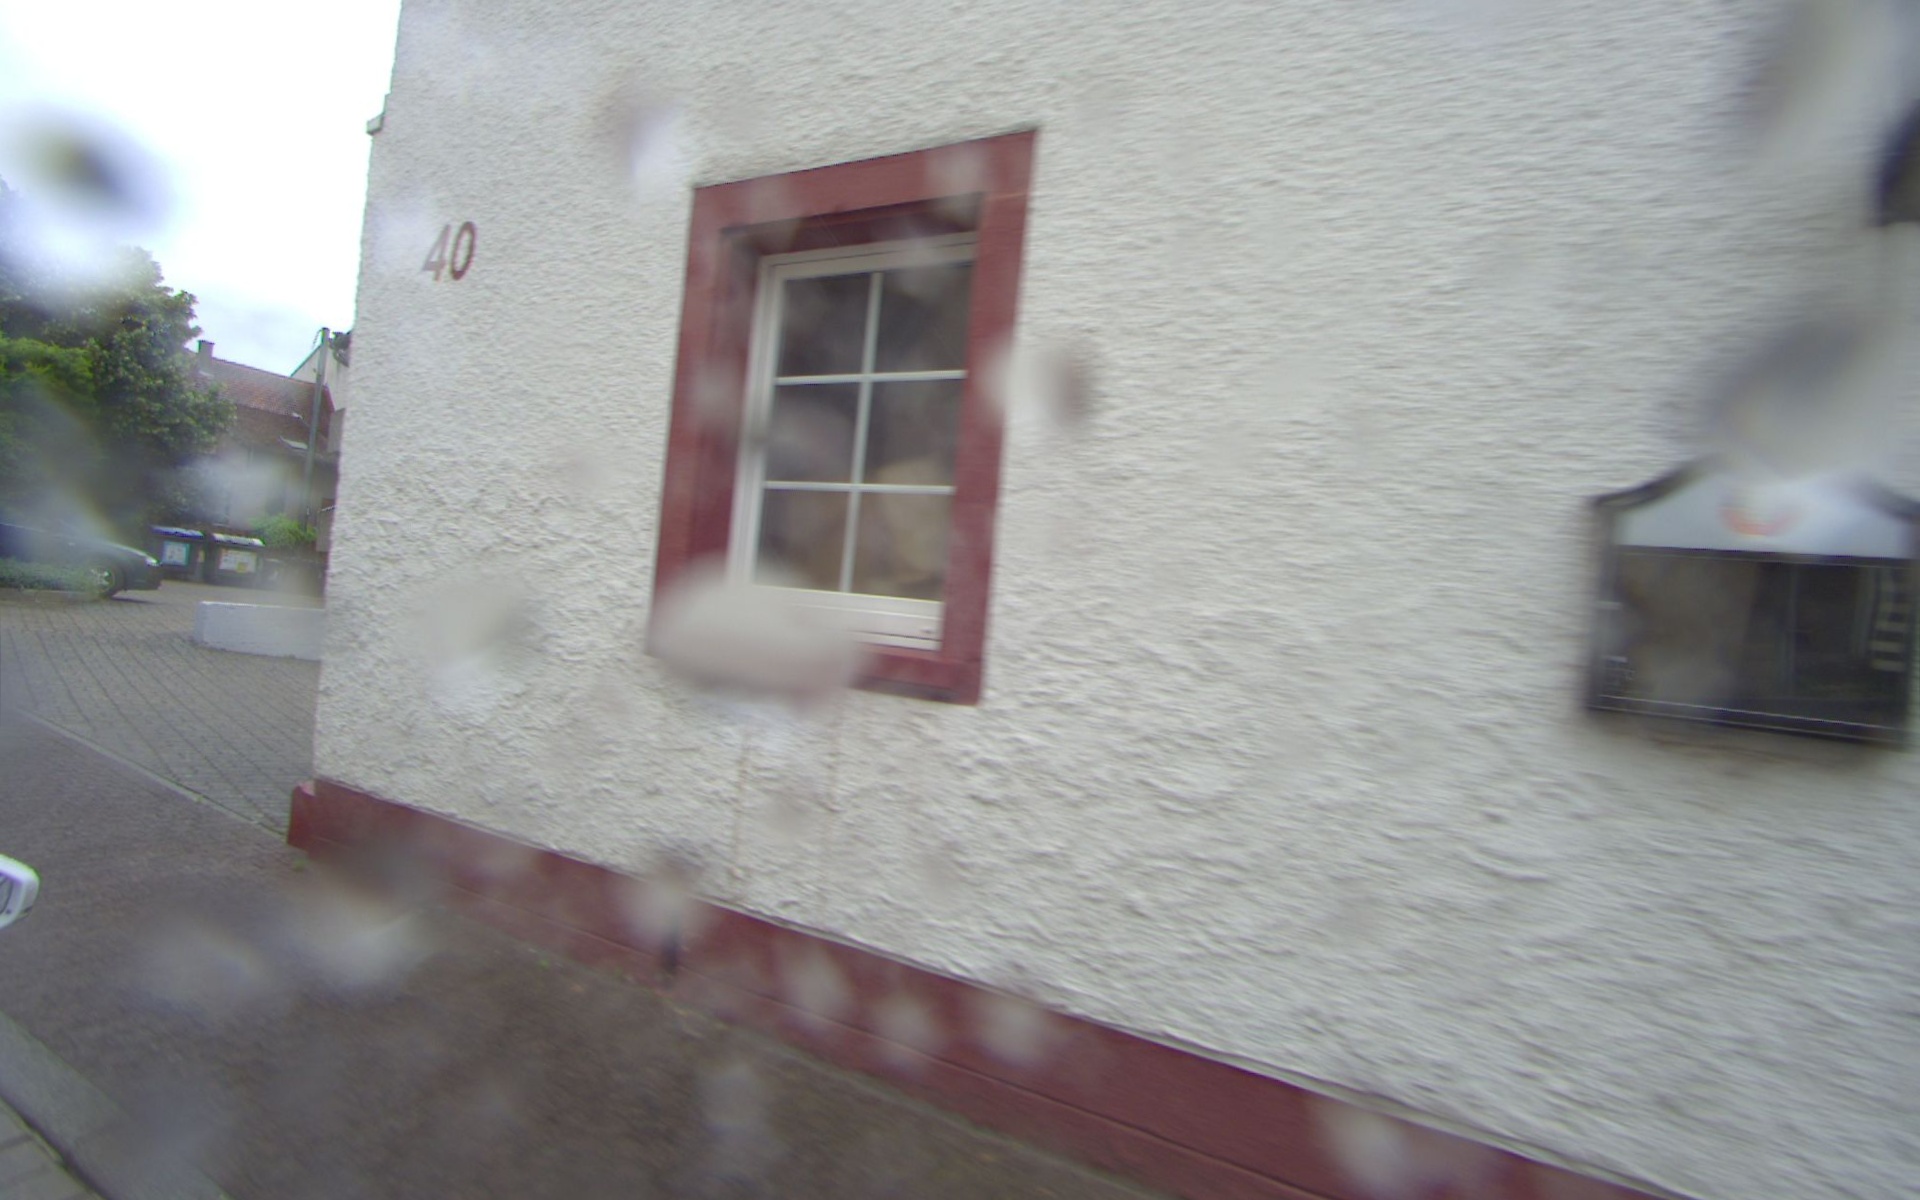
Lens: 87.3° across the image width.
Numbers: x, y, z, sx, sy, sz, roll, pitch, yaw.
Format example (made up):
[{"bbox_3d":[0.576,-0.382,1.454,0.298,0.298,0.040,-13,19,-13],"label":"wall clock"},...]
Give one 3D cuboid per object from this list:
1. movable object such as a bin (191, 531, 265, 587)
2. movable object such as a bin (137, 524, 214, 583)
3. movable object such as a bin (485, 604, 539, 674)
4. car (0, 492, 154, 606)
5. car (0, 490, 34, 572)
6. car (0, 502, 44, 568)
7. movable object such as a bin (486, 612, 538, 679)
[{"bbox_3d":[-21.075,-1.178,28.984,1.136,1.373,1.245,7,-2,31],"label":"movable object such as a bin"},{"bbox_3d":[-21.745,-1.290,27.895,1.136,1.373,1.245,7,-2,31],"label":"movable object such as a bin"},{"bbox_3d":[-7.596,0.666,17.071,0.620,1.078,0.565,9,-2,-34],"label":"movable object such as a bin"},{"bbox_3d":[-15.094,-0.948,15.272,1.673,1.497,4.219,6,-2,45],"label":"car"},{"bbox_3d":[-21.263,-1.670,19.942,1.833,1.608,4.061,7,-2,44],"label":"car"},{"bbox_3d":[-22.910,-1.686,21.987,1.725,1.395,3.952,7,-1,37],"label":"car"},{"bbox_3d":[-7.211,0.727,16.215,0.617,0.959,0.653,9,-2,-22],"label":"movable object such as a bin"}]
